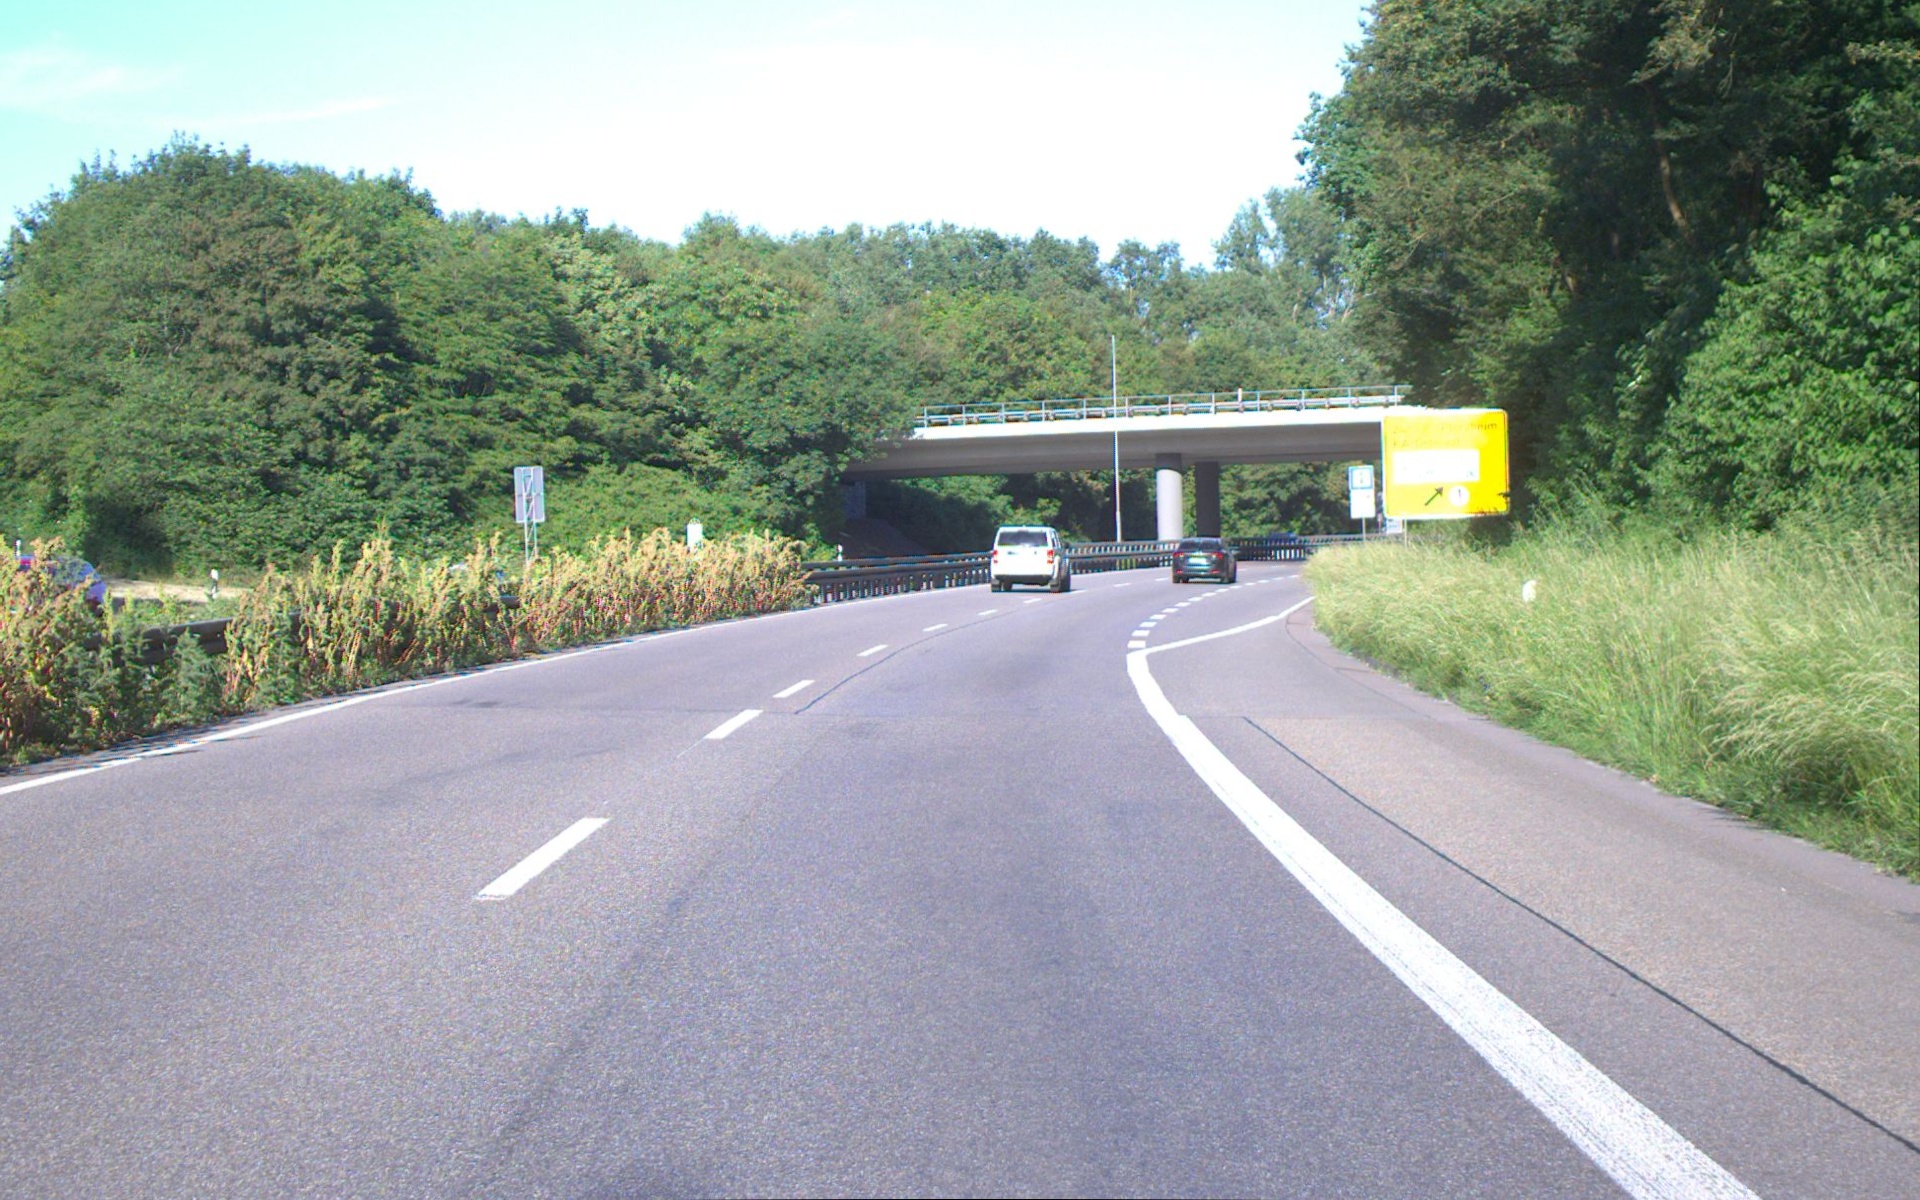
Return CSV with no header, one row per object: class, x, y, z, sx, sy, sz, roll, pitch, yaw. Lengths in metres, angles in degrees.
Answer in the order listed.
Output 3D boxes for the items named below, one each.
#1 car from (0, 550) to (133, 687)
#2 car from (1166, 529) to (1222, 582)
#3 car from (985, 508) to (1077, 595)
car,-14.552,0.241,53.032,2.047,2.007,4.761,1,1,5
car,7.532,-1.442,110.849,1.739,1.656,3.945,-1,1,4
car,1.945,-1.334,92.855,1.994,2.269,3.999,-1,1,8
